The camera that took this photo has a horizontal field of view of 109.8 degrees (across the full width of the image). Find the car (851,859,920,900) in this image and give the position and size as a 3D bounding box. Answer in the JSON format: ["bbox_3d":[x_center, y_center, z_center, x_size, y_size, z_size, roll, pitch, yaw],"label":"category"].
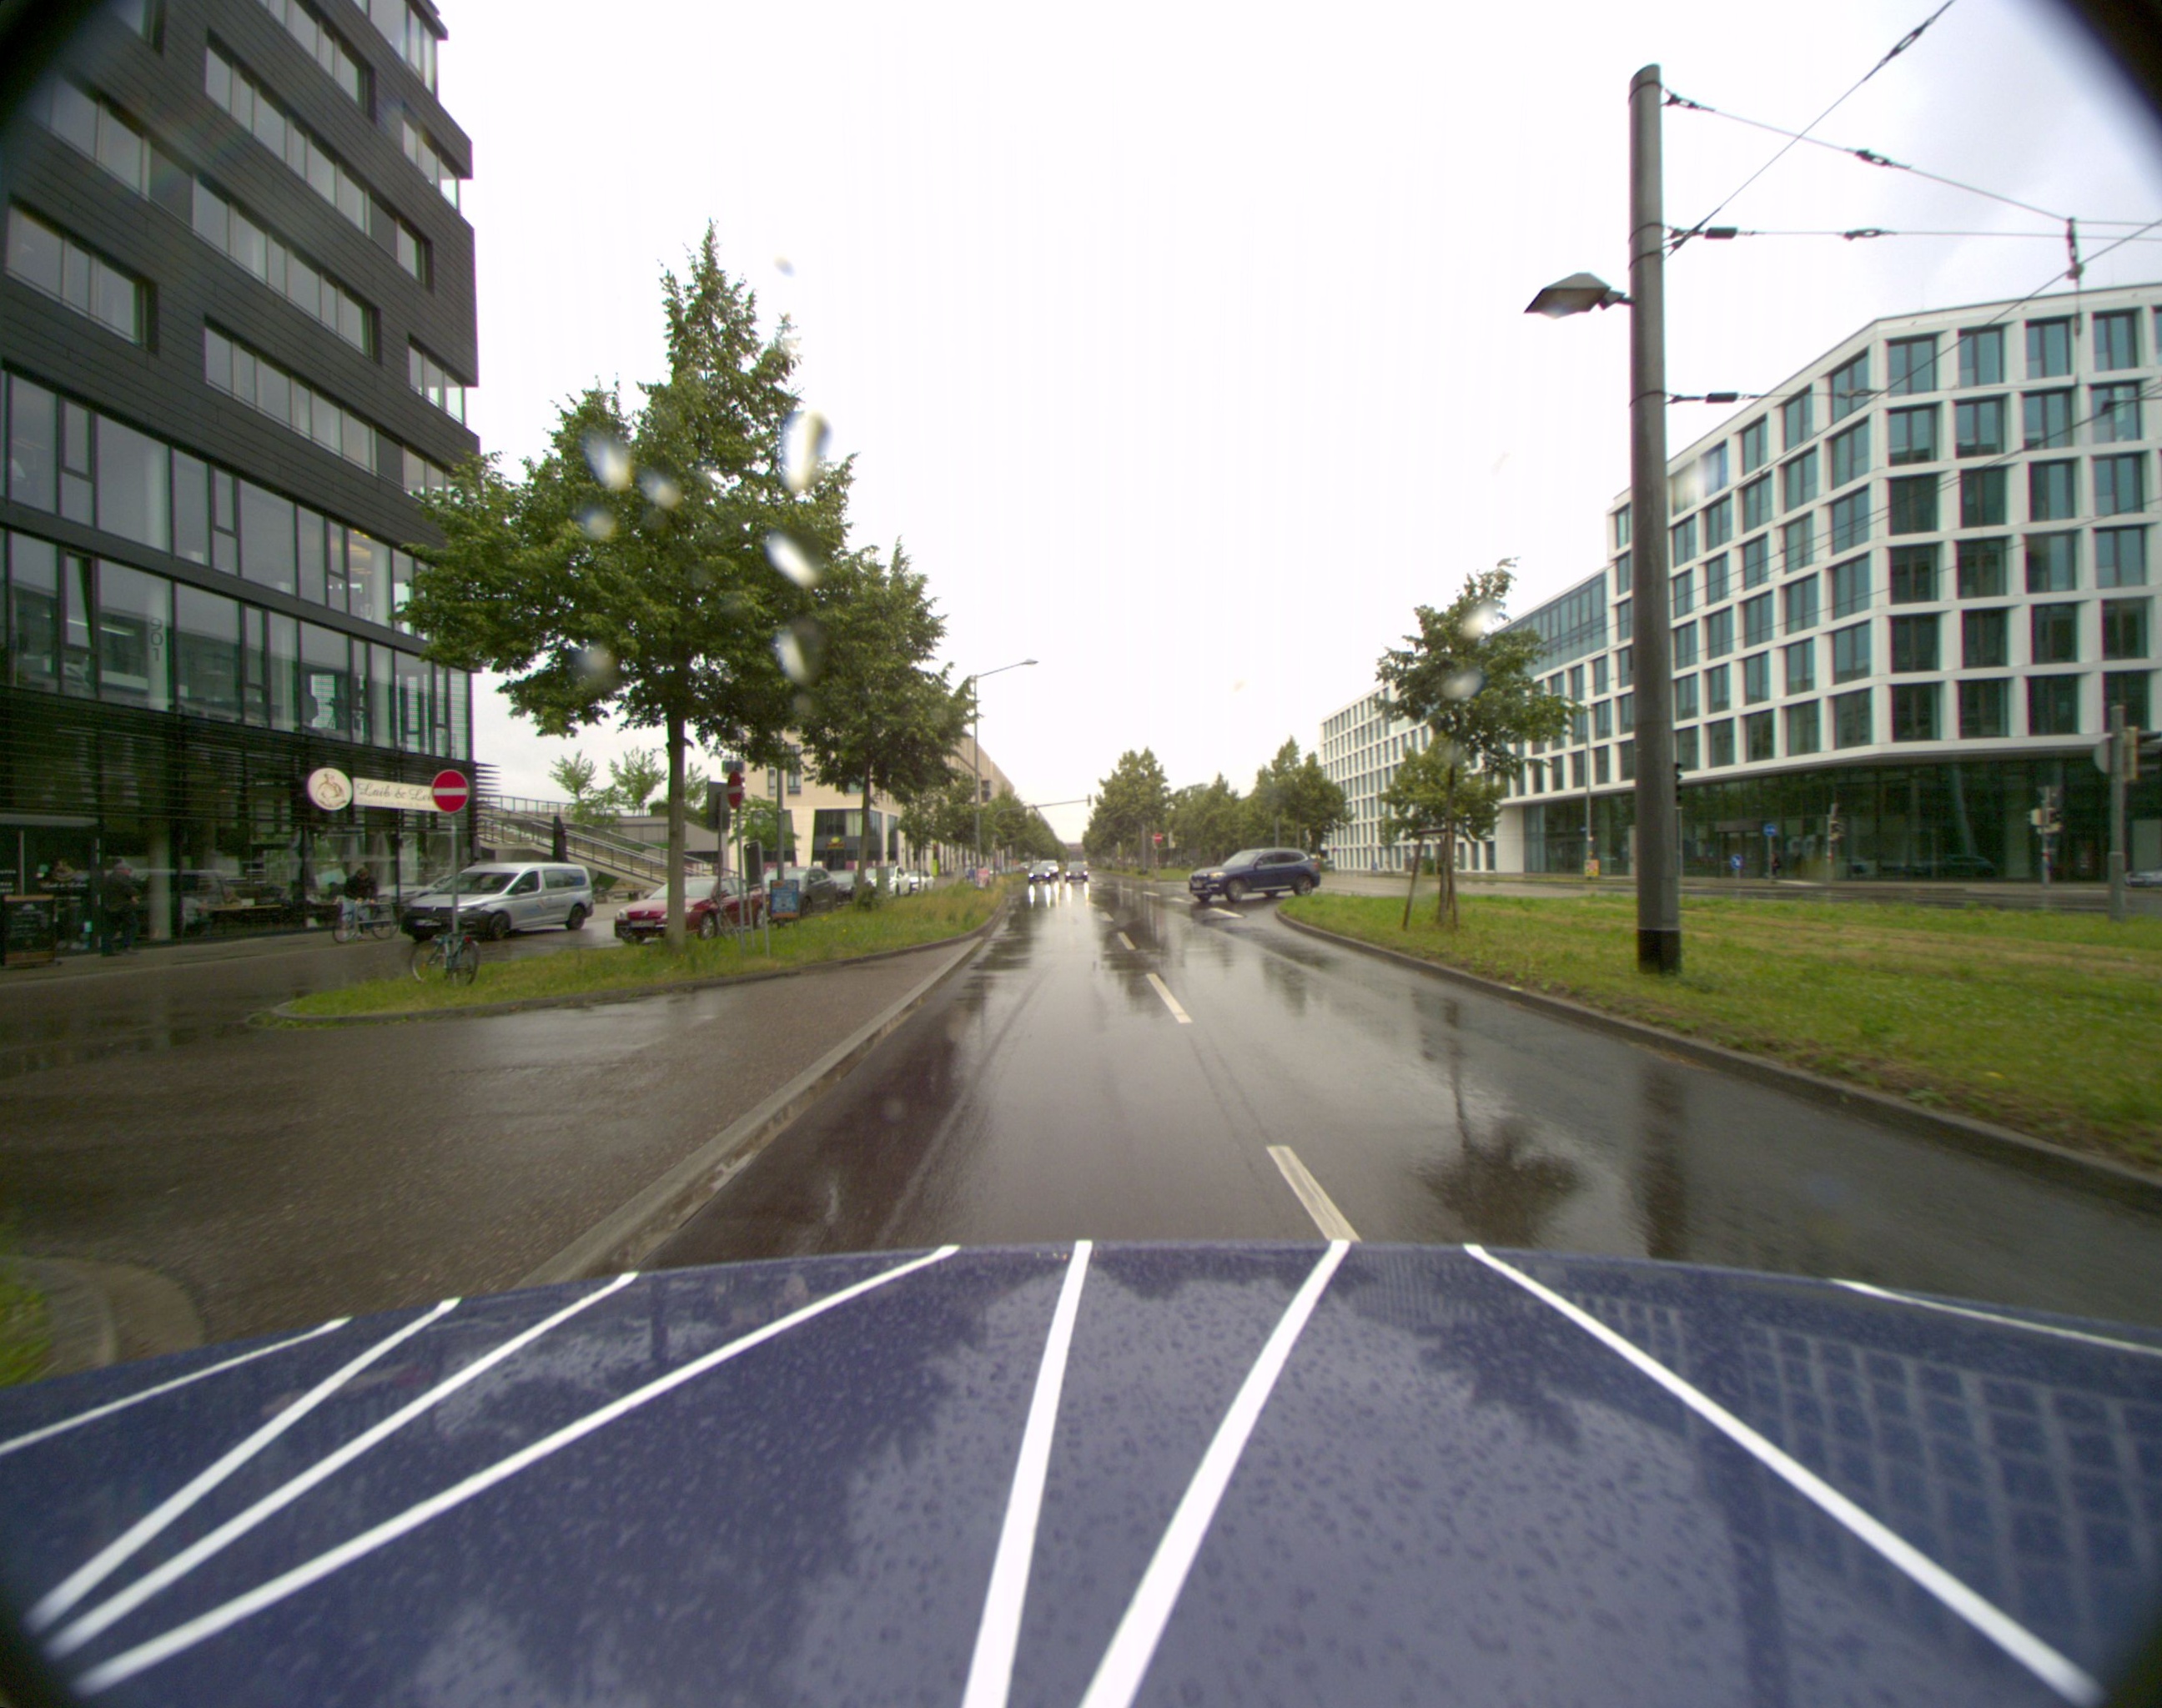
[{"bbox_3d":[-8.965,1.205,35.271,1.999,1.696,4.840,-1,-2,-1],"label":"car"}]

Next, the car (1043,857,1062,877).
[{"bbox_3d":[-2.912,1.367,78.156,1.757,1.913,4.002,-1,-2,0],"label":"car"}]

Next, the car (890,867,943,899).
[{"bbox_3d":[-9.315,1.648,43.327,1.999,1.696,4.840,-1,-2,-1],"label":"car"}]

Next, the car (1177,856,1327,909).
[{"bbox_3d":[5.767,0.894,25.551,4.722,1.650,1.926,0,0,-24],"label":"car"}]

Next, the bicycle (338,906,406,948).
[{"bbox_3d":[-16.129,1.642,17.317,0.437,0.892,1.232,-1,-2,-4],"label":"bicycle"}]

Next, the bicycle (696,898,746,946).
[{"bbox_3d":[-7.073,1.311,15.013,0.575,0.856,1.913,-1,-2,-16],"label":"bicycle"}]

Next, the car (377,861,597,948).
[{"bbox_3d":[-14.346,1.136,18.794,1.898,1.854,4.723,-1,-1,-3],"label":"car"}]

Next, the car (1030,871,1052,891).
[{"bbox_3d":[-3.206,2.207,61.694,1.687,1.520,3.970,-1,-2,-2],"label":"car"}]

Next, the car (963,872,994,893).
[{"bbox_3d":[-8.747,2.457,65.303,1.999,1.696,4.840,-1,-2,-1],"label":"car"}]

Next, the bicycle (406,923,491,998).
[{"bbox_3d":[-8.494,1.394,10.191,1.458,0.911,0.434,-3,-2,32],"label":"bicycle"}]

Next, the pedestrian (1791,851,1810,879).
[{"bbox_3d":[42.800,0.669,45.209,0.634,1.634,0.546,-1,1,1],"label":"pedestrian"}]

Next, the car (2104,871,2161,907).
[{"bbox_3d":[44.977,1.372,30.747,4.088,1.427,1.890,-1,-2,9],"label":"car"}]

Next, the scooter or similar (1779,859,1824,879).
[{"bbox_3d":[42.930,0.898,45.280,2.161,1.145,0.550,-1,-2,-2],"label":"scooter or similar"}]

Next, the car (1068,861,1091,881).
[{"bbox_3d":[-0.158,1.367,60.809,1.657,1.520,3.776,-1,-2,-2],"label":"car"}]

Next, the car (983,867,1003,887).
[{"bbox_3d":[-8.898,2.352,76.949,1.916,2.001,4.000,-1,-2,-5],"label":"car"}]

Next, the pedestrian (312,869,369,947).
[{"bbox_3d":[-16.589,1.199,17.040,0.627,1.694,0.657,-1,-2,-5],"label":"pedestrian"}]

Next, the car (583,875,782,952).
[{"bbox_3d":[-9.021,1.272,17.819,1.998,1.446,4.959,-1,-1,0],"label":"car"}]

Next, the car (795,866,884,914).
[{"bbox_3d":[-9.237,1.393,29.525,1.999,1.696,4.725,-1,-2,-1],"label":"car"}]

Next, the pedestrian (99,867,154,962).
[{"bbox_3d":[-18.708,1.168,14.905,0.508,1.821,0.575,0,-2,-36],"label":"pedestrian"}]

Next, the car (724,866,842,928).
[{"bbox_3d":[-9.024,1.284,23.429,1.999,1.696,4.219,-1,-2,-1],"label":"car"}]
